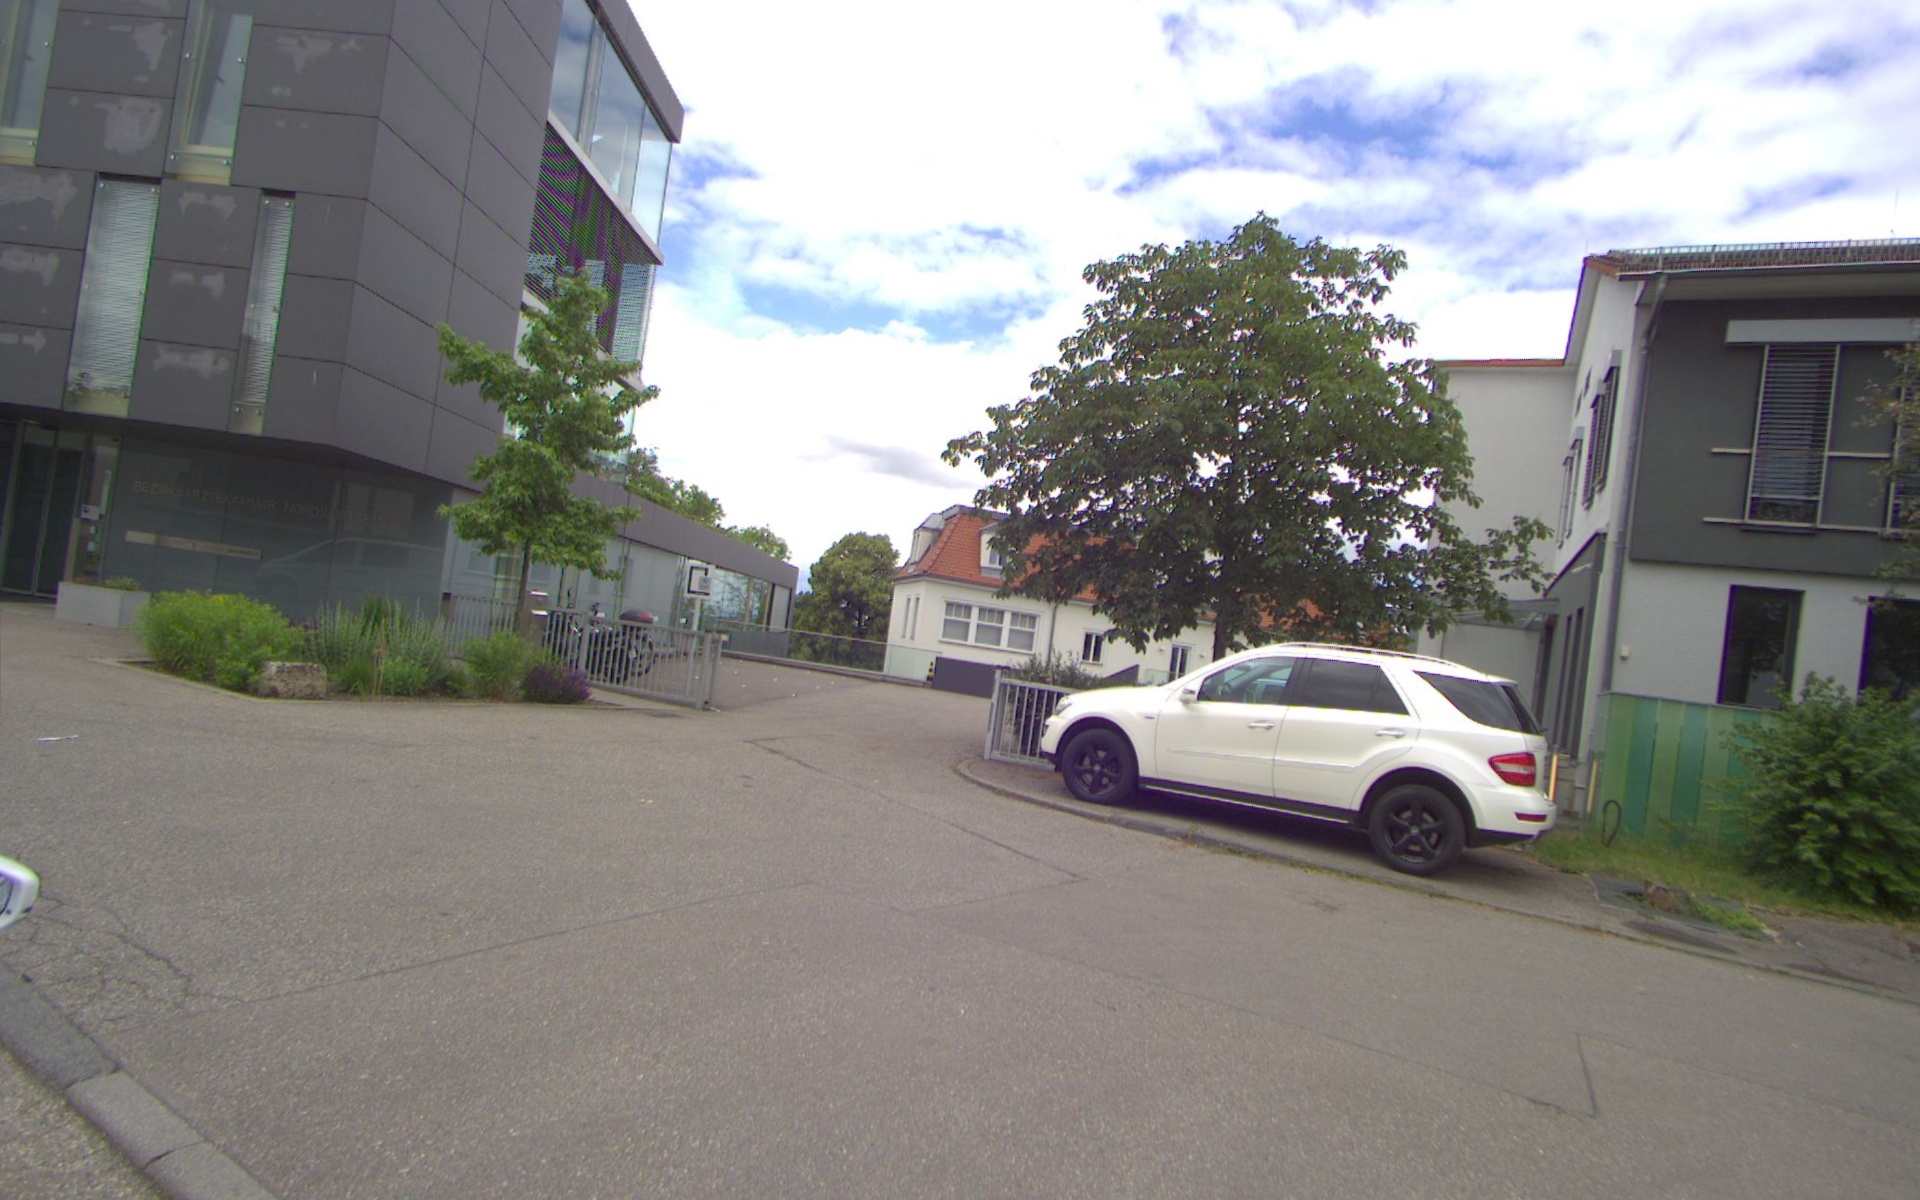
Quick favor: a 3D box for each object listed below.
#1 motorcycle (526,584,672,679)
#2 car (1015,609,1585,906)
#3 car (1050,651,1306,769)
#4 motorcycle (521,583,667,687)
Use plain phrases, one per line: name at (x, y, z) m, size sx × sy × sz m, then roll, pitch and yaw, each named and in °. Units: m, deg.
motorcycle at (-6.687, 0.583, 18.635) m, size 2.416 × 1.409 × 0.671 m, roll 7°, pitch -1°, yaw 13°
car at (3.090, 1.285, 9.574) m, size 4.643 × 1.778 × 1.856 m, roll 7°, pitch -2°, yaw 31°
car at (3.909, 1.922, 18.123) m, size 4.142 × 1.501 × 1.621 m, roll 5°, pitch -2°, yaw 25°
motorcycle at (-6.085, 0.583, 16.759) m, size 2.084 × 1.409 × 0.671 m, roll 8°, pitch -1°, yaw 13°
